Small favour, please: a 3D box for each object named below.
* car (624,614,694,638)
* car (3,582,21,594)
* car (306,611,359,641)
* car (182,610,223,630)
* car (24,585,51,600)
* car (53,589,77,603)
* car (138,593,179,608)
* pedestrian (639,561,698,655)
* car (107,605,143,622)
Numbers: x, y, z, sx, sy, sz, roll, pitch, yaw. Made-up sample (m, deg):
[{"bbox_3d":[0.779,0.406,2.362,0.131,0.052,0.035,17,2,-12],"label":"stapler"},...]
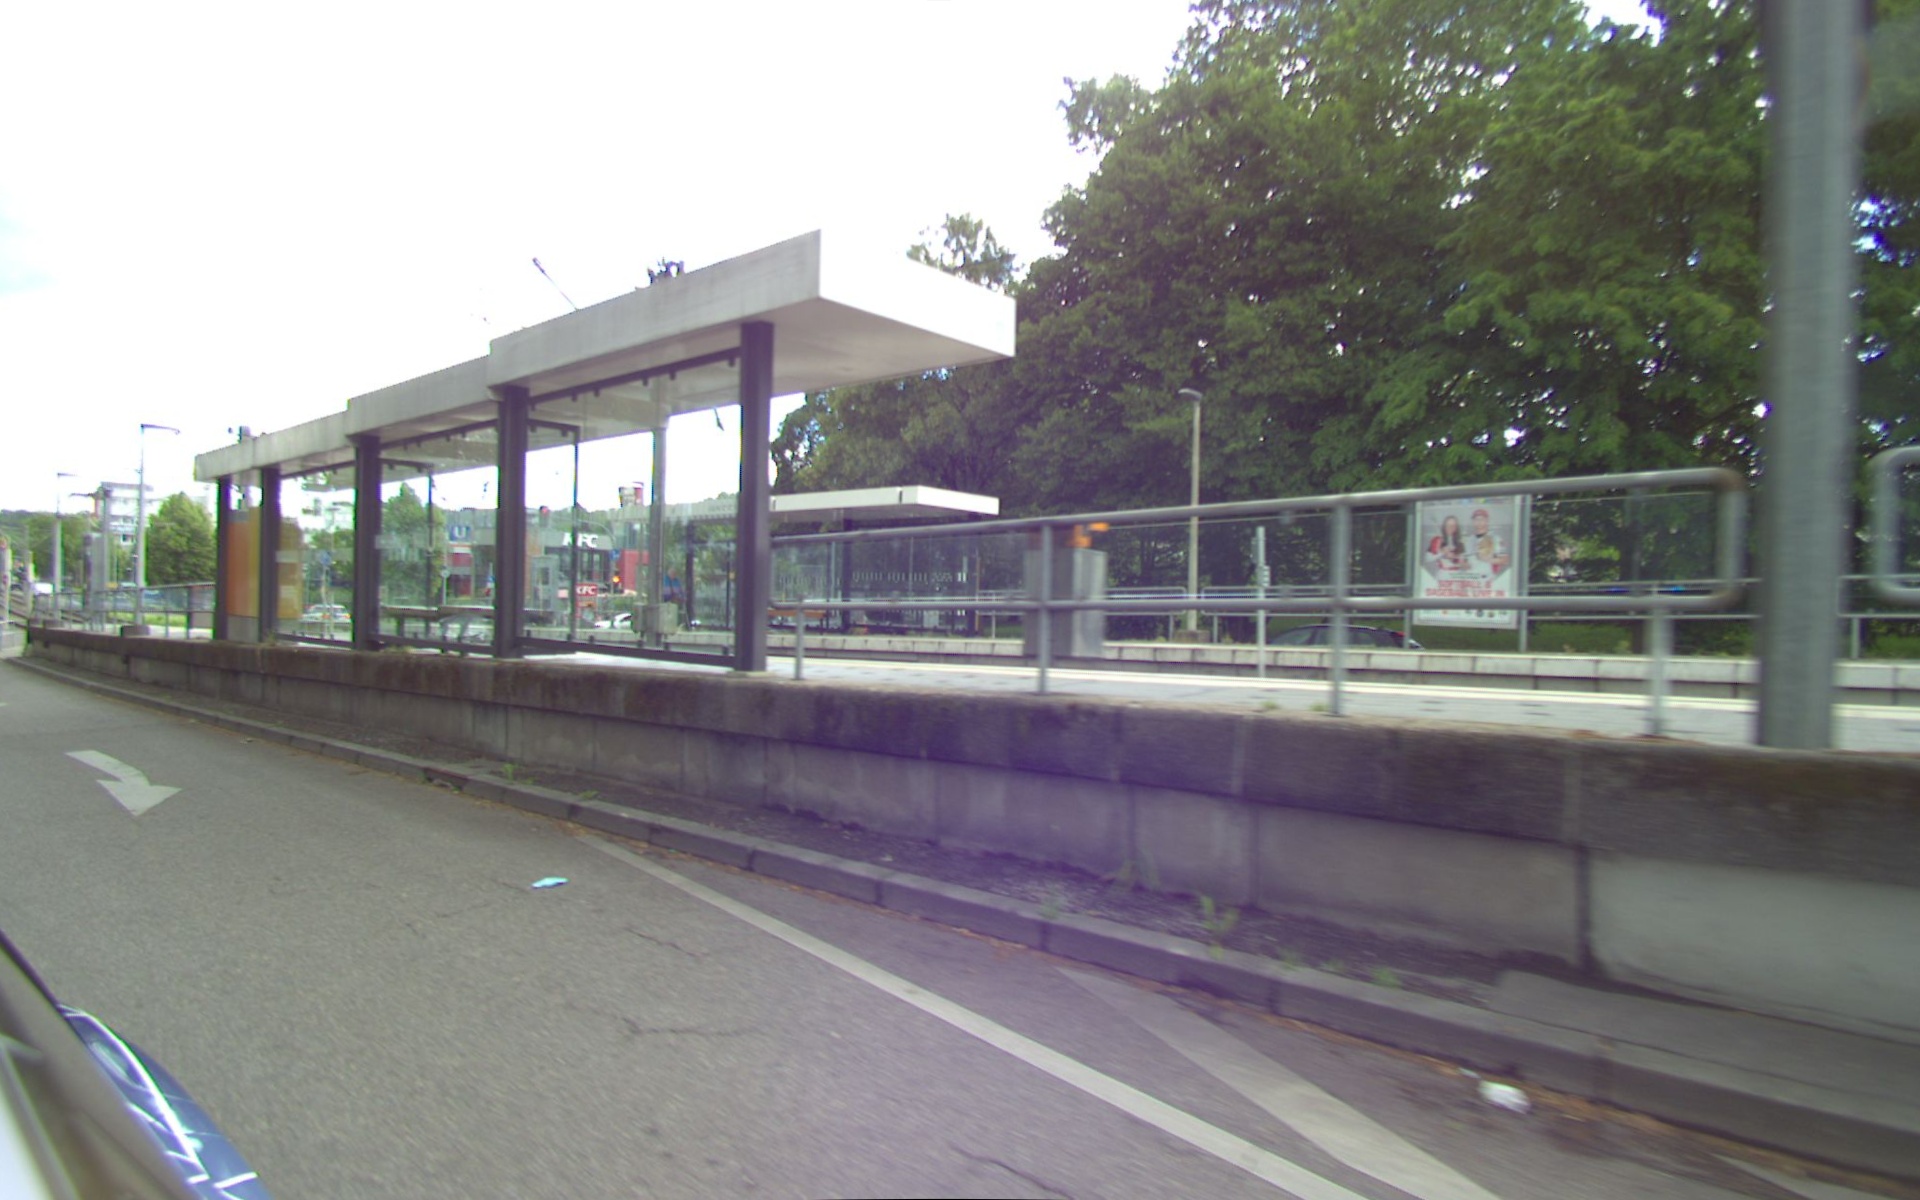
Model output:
[{"bbox_3d":[-19.153,1.639,64.478,3.828,1.418,1.851,2,-1,-38],"label":"car"},{"bbox_3d":[-176.893,-2.234,188.860,3.997,2.029,1.973,1,-2,40],"label":"car"},{"bbox_3d":[-40.638,1.670,65.518,4.398,1.764,1.692,1,-1,41],"label":"car"},{"bbox_3d":[-61.942,1.653,82.692,3.995,1.457,1.669,1,-2,39],"label":"car"},{"bbox_3d":[-129.400,-1.058,141.995,4.879,2.029,1.974,1,-1,38],"label":"car"},{"bbox_3d":[-131.537,-0.564,148.714,4.104,2.029,1.973,1,-1,40],"label":"car"},{"bbox_3d":[-112.219,0.008,141.703,4.294,1.933,2.002,-2,2,-43],"label":"car"},{"bbox_3d":[-6.976,0.188,24.227,0.976,2.202,0.959,0,-1,42],"label":"pedestrian"},{"bbox_3d":[-75.050,1.206,90.945,4.048,1.457,1.579,1,-2,38],"label":"car"}]
